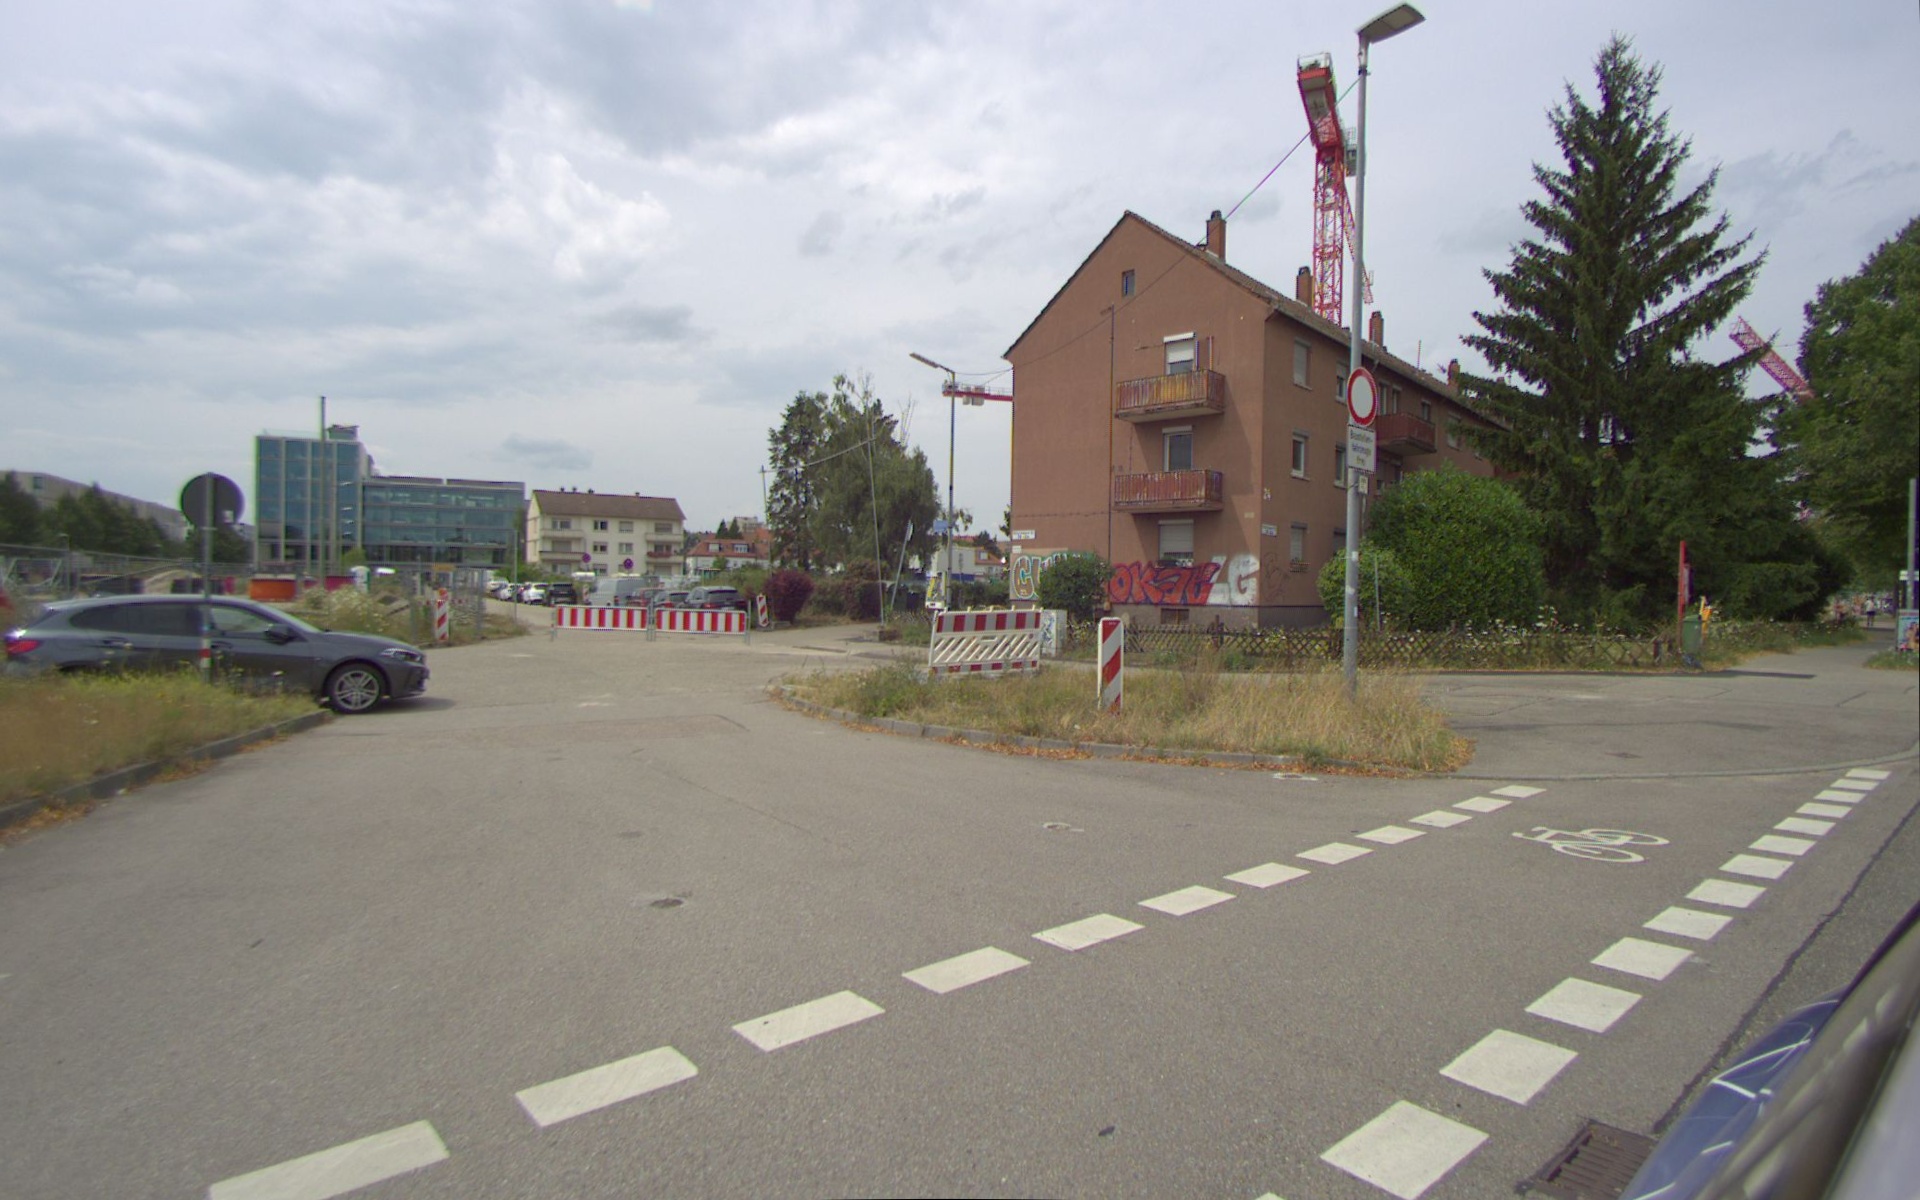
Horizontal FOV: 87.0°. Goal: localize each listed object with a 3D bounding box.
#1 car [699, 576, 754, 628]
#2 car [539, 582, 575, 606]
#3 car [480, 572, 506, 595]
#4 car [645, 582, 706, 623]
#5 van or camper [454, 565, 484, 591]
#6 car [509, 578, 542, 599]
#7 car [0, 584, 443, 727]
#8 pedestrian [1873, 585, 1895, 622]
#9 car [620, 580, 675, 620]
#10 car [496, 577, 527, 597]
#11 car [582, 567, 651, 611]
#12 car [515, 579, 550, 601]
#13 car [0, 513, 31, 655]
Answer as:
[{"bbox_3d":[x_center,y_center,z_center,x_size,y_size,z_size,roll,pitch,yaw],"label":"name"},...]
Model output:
[{"bbox_3d":[-8.985,0.049,38.745,1.764,1.872,4.009,0,1,-17],"label":"car"},{"bbox_3d":[-26.889,-0.418,67.419,1.820,1.525,4.019,0,1,-28],"label":"car"},{"bbox_3d":[-44.019,-1.544,95.365,1.852,2.126,4.017,0,1,-31],"label":"car"},{"bbox_3d":[-12.180,0.081,43.143,1.765,1.622,4.020,0,1,-26],"label":"car"},{"bbox_3d":[-53.686,-2.378,110.669,2.306,2.721,5.249,0,1,-33],"label":"van or camper"},{"bbox_3d":[-33.605,-0.928,78.175,1.820,1.554,4.017,0,1,-31],"label":"car"},{"bbox_3d":[-8.879,0.574,12.578,4.178,1.492,1.767,0,1,-35],"label":"car"},{"bbox_3d":[50.726,0.188,55.546,0.853,2.039,0.720,1,0,43],"label":"pedestrian"},{"bbox_3d":[-14.728,-0.036,47.576,1.819,1.771,4.020,0,1,-27],"label":"car"},{"bbox_3d":[-36.534,-1.069,82.424,1.820,1.554,4.017,0,1,-31],"label":"car"},{"bbox_3d":[-17.811,-0.612,52.355,2.107,2.163,4.910,0,1,-35],"label":"car"},{"bbox_3d":[-31.095,-0.752,73.584,1.820,1.554,4.017,0,1,-31],"label":"car"},{"bbox_3d":[-16.964,-0.232,14.795,2.269,2.442,6.557,0,1,-16],"label":"car"}]
